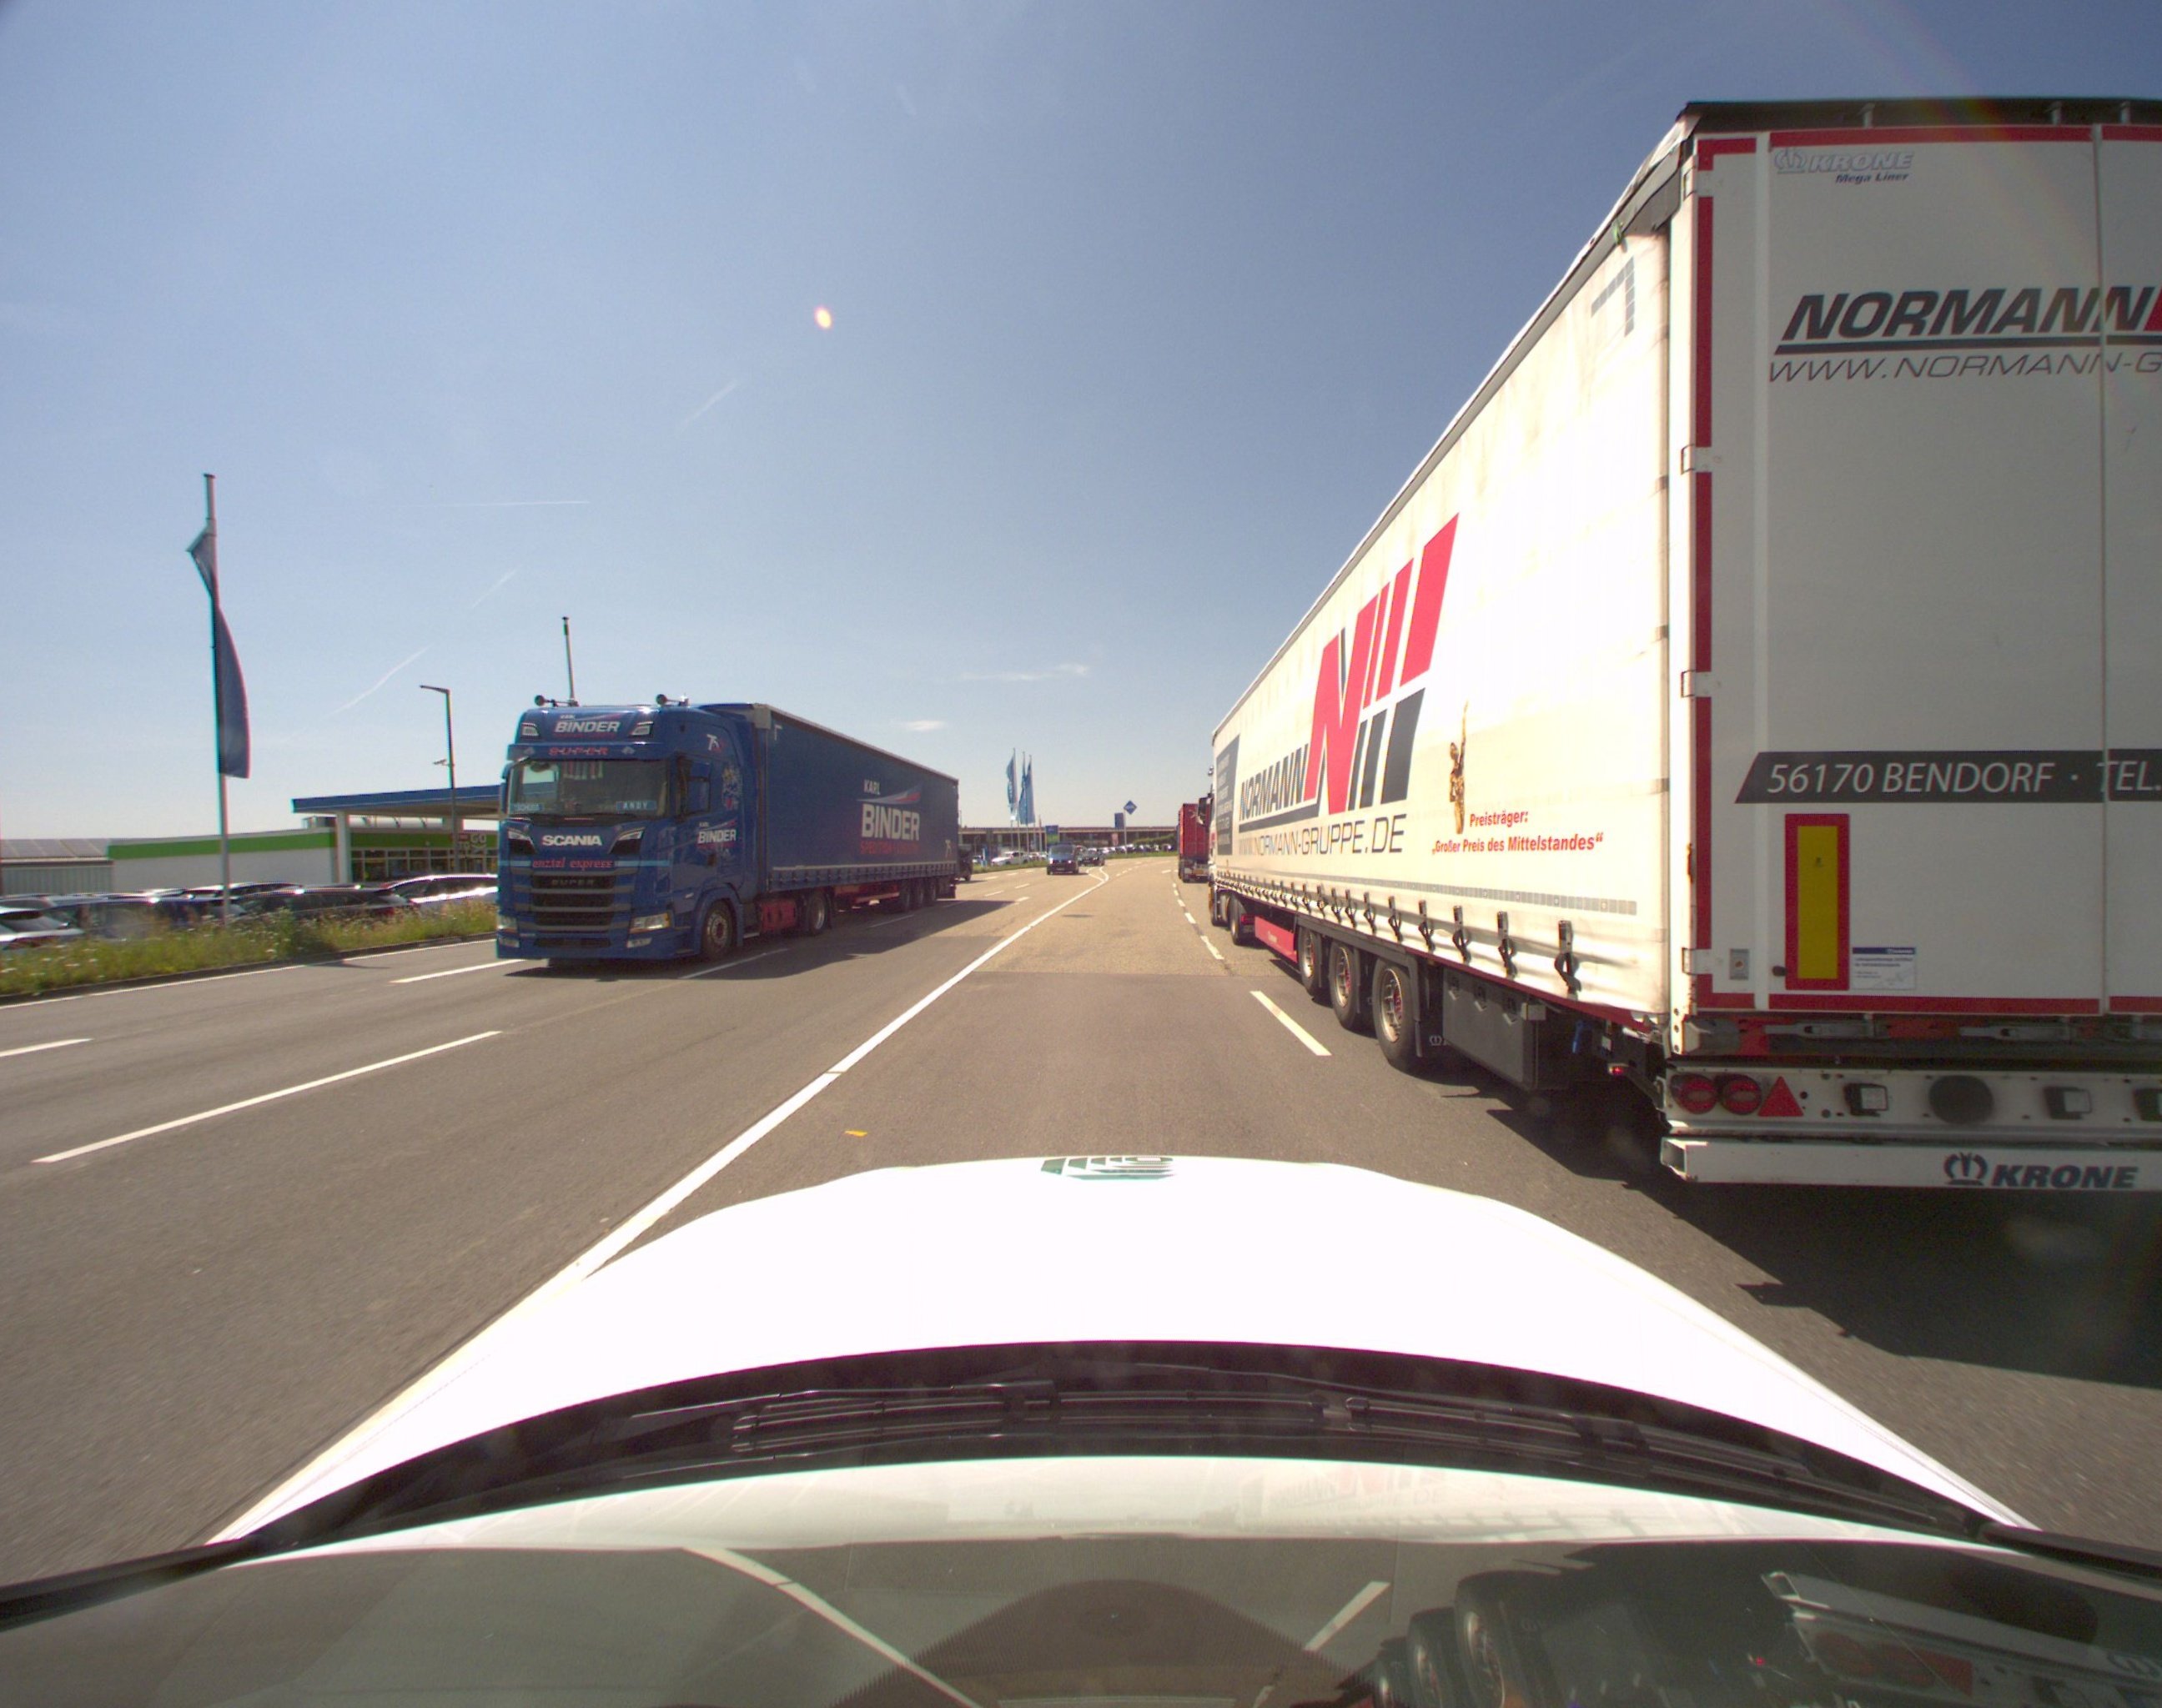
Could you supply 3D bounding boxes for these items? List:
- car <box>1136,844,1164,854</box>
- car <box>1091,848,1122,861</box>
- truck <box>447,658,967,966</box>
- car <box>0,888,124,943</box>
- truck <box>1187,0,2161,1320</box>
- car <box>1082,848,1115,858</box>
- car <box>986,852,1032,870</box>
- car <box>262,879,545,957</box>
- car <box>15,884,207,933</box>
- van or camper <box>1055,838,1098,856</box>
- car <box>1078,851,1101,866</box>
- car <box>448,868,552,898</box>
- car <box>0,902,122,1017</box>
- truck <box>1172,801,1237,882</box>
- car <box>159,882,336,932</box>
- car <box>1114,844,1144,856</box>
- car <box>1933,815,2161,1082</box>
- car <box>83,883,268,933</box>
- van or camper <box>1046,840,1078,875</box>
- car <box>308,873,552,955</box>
[{"bbox_3d":[10.994,-0.806,129.894,3.948,1.317,1.845,-3,0,32],"label":"car"},{"bbox_3d":[3.723,0.080,118.869,3.948,1.750,1.947,-2,0,35],"label":"car"},{"bbox_3d":[-6.030,-0.493,18.937,2.830,3.889,17.029,-1,0,5],"label":"truck"},{"bbox_3d":[-34.805,2.030,26.775,1.834,1.574,4.002,-2,0,2],"label":"car"},{"bbox_3d":[3.645,-0.627,11.329,2.960,4.093,17.650,-1,0,3],"label":"truck"},{"bbox_3d":[2.457,-0.140,115.867,4.195,1.359,2.013,-1,0,33],"label":"car"},{"bbox_3d":[-7.165,0.655,81.345,1.845,1.712,4.547,-1,0,39],"label":"car"},{"bbox_3d":[-13.884,1.253,17.037,4.189,1.248,1.767,-2,0,-25],"label":"car"},{"bbox_3d":[-31.076,1.711,26.274,1.651,1.283,3.656,-2,0,4],"label":"car"},{"bbox_3d":[-0.513,-0.797,95.587,4.819,1.905,1.909,-1,0,8],"label":"van or camper"},{"bbox_3d":[0.775,0.384,72.166,1.841,1.271,4.178,-2,0,2],"label":"car"},{"bbox_3d":[-30.804,1.515,43.344,1.982,1.378,4.393,-2,0,8],"label":"car"},{"bbox_3d":[-16.460,1.550,10.947,4.190,1.455,1.767,-3,0,-26],"label":"car"},{"bbox_3d":[6.709,-0.626,45.896,2.635,3.806,13.378,-2,0,5],"label":"truck"},{"bbox_3d":[-26.098,1.615,25.696,1.651,1.283,3.656,-2,0,4],"label":"car"},{"bbox_3d":[7.232,-0.550,122.681,3.948,1.750,2.013,-1,0,35],"label":"car"},{"bbox_3d":[8.268,0.445,5.285,3.518,1.478,1.831,-7,0,-2],"label":"car"},{"bbox_3d":[-28.624,1.663,25.928,1.651,1.283,3.656,-2,0,4],"label":"car"},{"bbox_3d":[-1.222,0.192,54.159,1.830,2.137,5.345,-1,0,2],"label":"van or camper"},{"bbox_3d":[-15.245,1.342,19.382,4.190,1.586,1.767,-2,0,-26],"label":"car"}]
